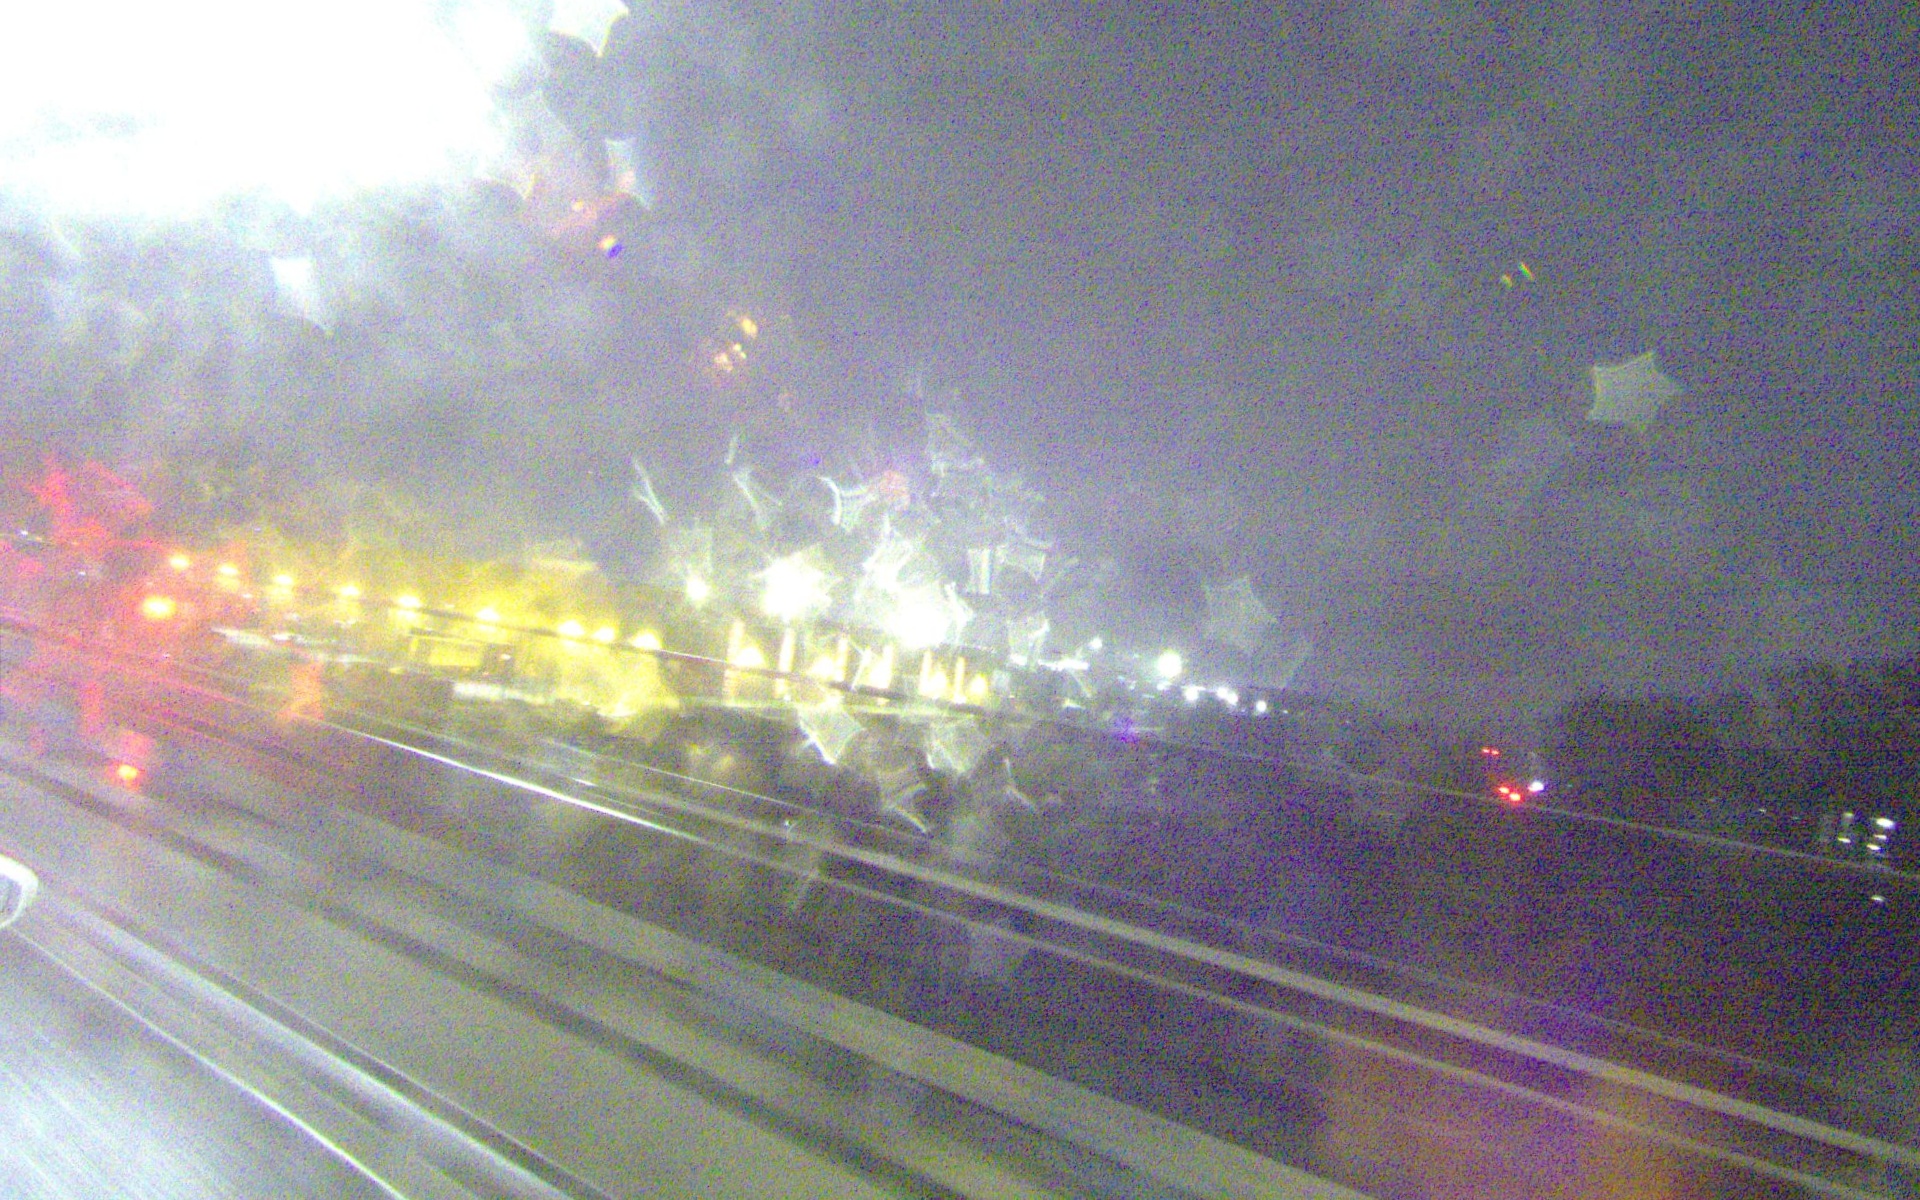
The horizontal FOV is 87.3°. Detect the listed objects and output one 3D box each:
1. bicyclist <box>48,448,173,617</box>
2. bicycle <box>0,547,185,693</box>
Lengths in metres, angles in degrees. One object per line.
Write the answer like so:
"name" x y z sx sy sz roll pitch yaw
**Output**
"bicyclist" -7.414 -0.587 8.784 0.751 1.365 0.453 7 -1 29
"bicycle" -7.764 0.152 8.938 2.134 1.046 0.485 6 -1 29
